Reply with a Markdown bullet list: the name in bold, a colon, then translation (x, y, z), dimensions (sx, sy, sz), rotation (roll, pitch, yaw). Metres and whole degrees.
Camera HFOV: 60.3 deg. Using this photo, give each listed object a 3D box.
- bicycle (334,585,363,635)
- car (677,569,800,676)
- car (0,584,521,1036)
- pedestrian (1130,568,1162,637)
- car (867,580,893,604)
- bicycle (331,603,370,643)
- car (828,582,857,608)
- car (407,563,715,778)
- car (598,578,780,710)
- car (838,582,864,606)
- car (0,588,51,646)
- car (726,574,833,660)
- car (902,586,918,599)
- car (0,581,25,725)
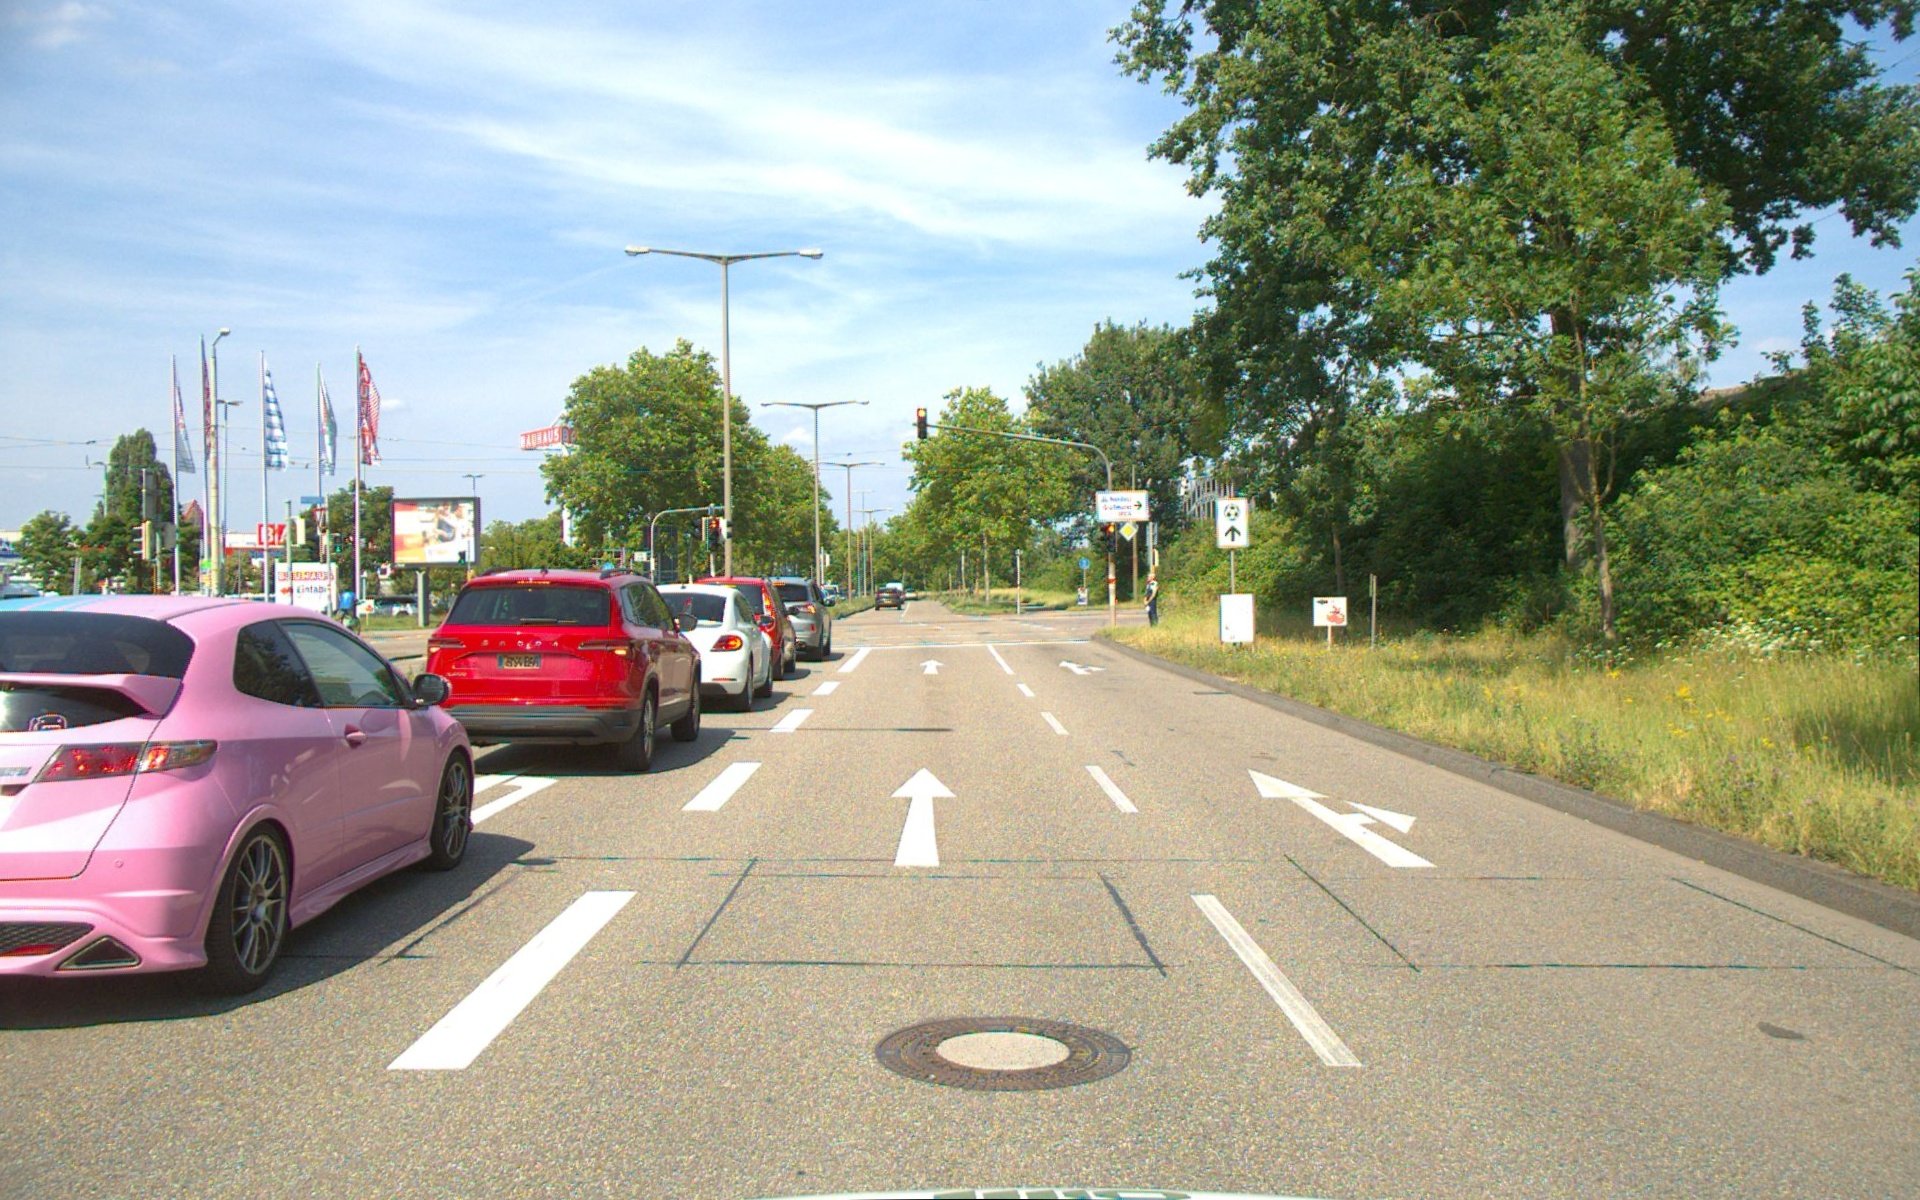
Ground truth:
- **bicycle**: translation (-20.403, 0.328, 55.212), dimensions (0.659, 1.643, 0.991), rotation (-2, 0, -6)
- **car**: translation (-3.611, 0.362, 27.497), dimensions (1.595, 1.623, 3.916), rotation (-1, -1, -2)
- **car**: translation (-3.362, 0.646, 7.457), dimensions (1.668, 1.414, 4.471), rotation (1, 1, -2)
- **pedestrian**: translation (5.414, 0.075, 48.173), dimensions (0.821, 1.966, 0.771), rotation (-1, 2, -5)
- **car**: translation (-5.682, -0.579, 117.271), dimensions (1.701, 1.562, 4.001), rotation (0, 3, -1)
- **bicycle**: translation (-20.379, 0.761, 55.307), dimensions (0.659, 1.278, 2.244), rotation (-2, 0, -6)
- **car**: translation (-8.844, -0.387, 124.775), dimensions (1.953, 1.928, 4.374), rotation (-1, 1, -2)
- **car**: translation (-3.344, 0.506, 14.753), dimensions (1.746, 1.620, 4.592), rotation (0, 1, -2)
- **car**: translation (-3.327, 0.485, 21.006), dimensions (1.730, 1.505, 4.134), rotation (0, 1, -2)
- **car**: translation (-9.228, -0.543, 140.068), dimensions (1.953, 1.928, 4.375), rotation (-1, 1, -1)
- **car**: translation (-43.847, 0.784, 76.483), dimensions (1.986, 2.577, 4.563), rotation (-2, 1, -44)
- **car**: translation (-3.665, 0.310, 34.157), dimensions (1.843, 1.646, 4.211), rotation (0, 0, -2)
- **car**: translation (-6.166, -0.932, 204.322), dimensions (1.830, 1.601, 3.999), rotation (-2, 0, -1)
- **car**: translation (-13.678, 0.697, 21.819), dimensions (1.848, 1.781, 4.343), rotation (-2, 0, -36)
